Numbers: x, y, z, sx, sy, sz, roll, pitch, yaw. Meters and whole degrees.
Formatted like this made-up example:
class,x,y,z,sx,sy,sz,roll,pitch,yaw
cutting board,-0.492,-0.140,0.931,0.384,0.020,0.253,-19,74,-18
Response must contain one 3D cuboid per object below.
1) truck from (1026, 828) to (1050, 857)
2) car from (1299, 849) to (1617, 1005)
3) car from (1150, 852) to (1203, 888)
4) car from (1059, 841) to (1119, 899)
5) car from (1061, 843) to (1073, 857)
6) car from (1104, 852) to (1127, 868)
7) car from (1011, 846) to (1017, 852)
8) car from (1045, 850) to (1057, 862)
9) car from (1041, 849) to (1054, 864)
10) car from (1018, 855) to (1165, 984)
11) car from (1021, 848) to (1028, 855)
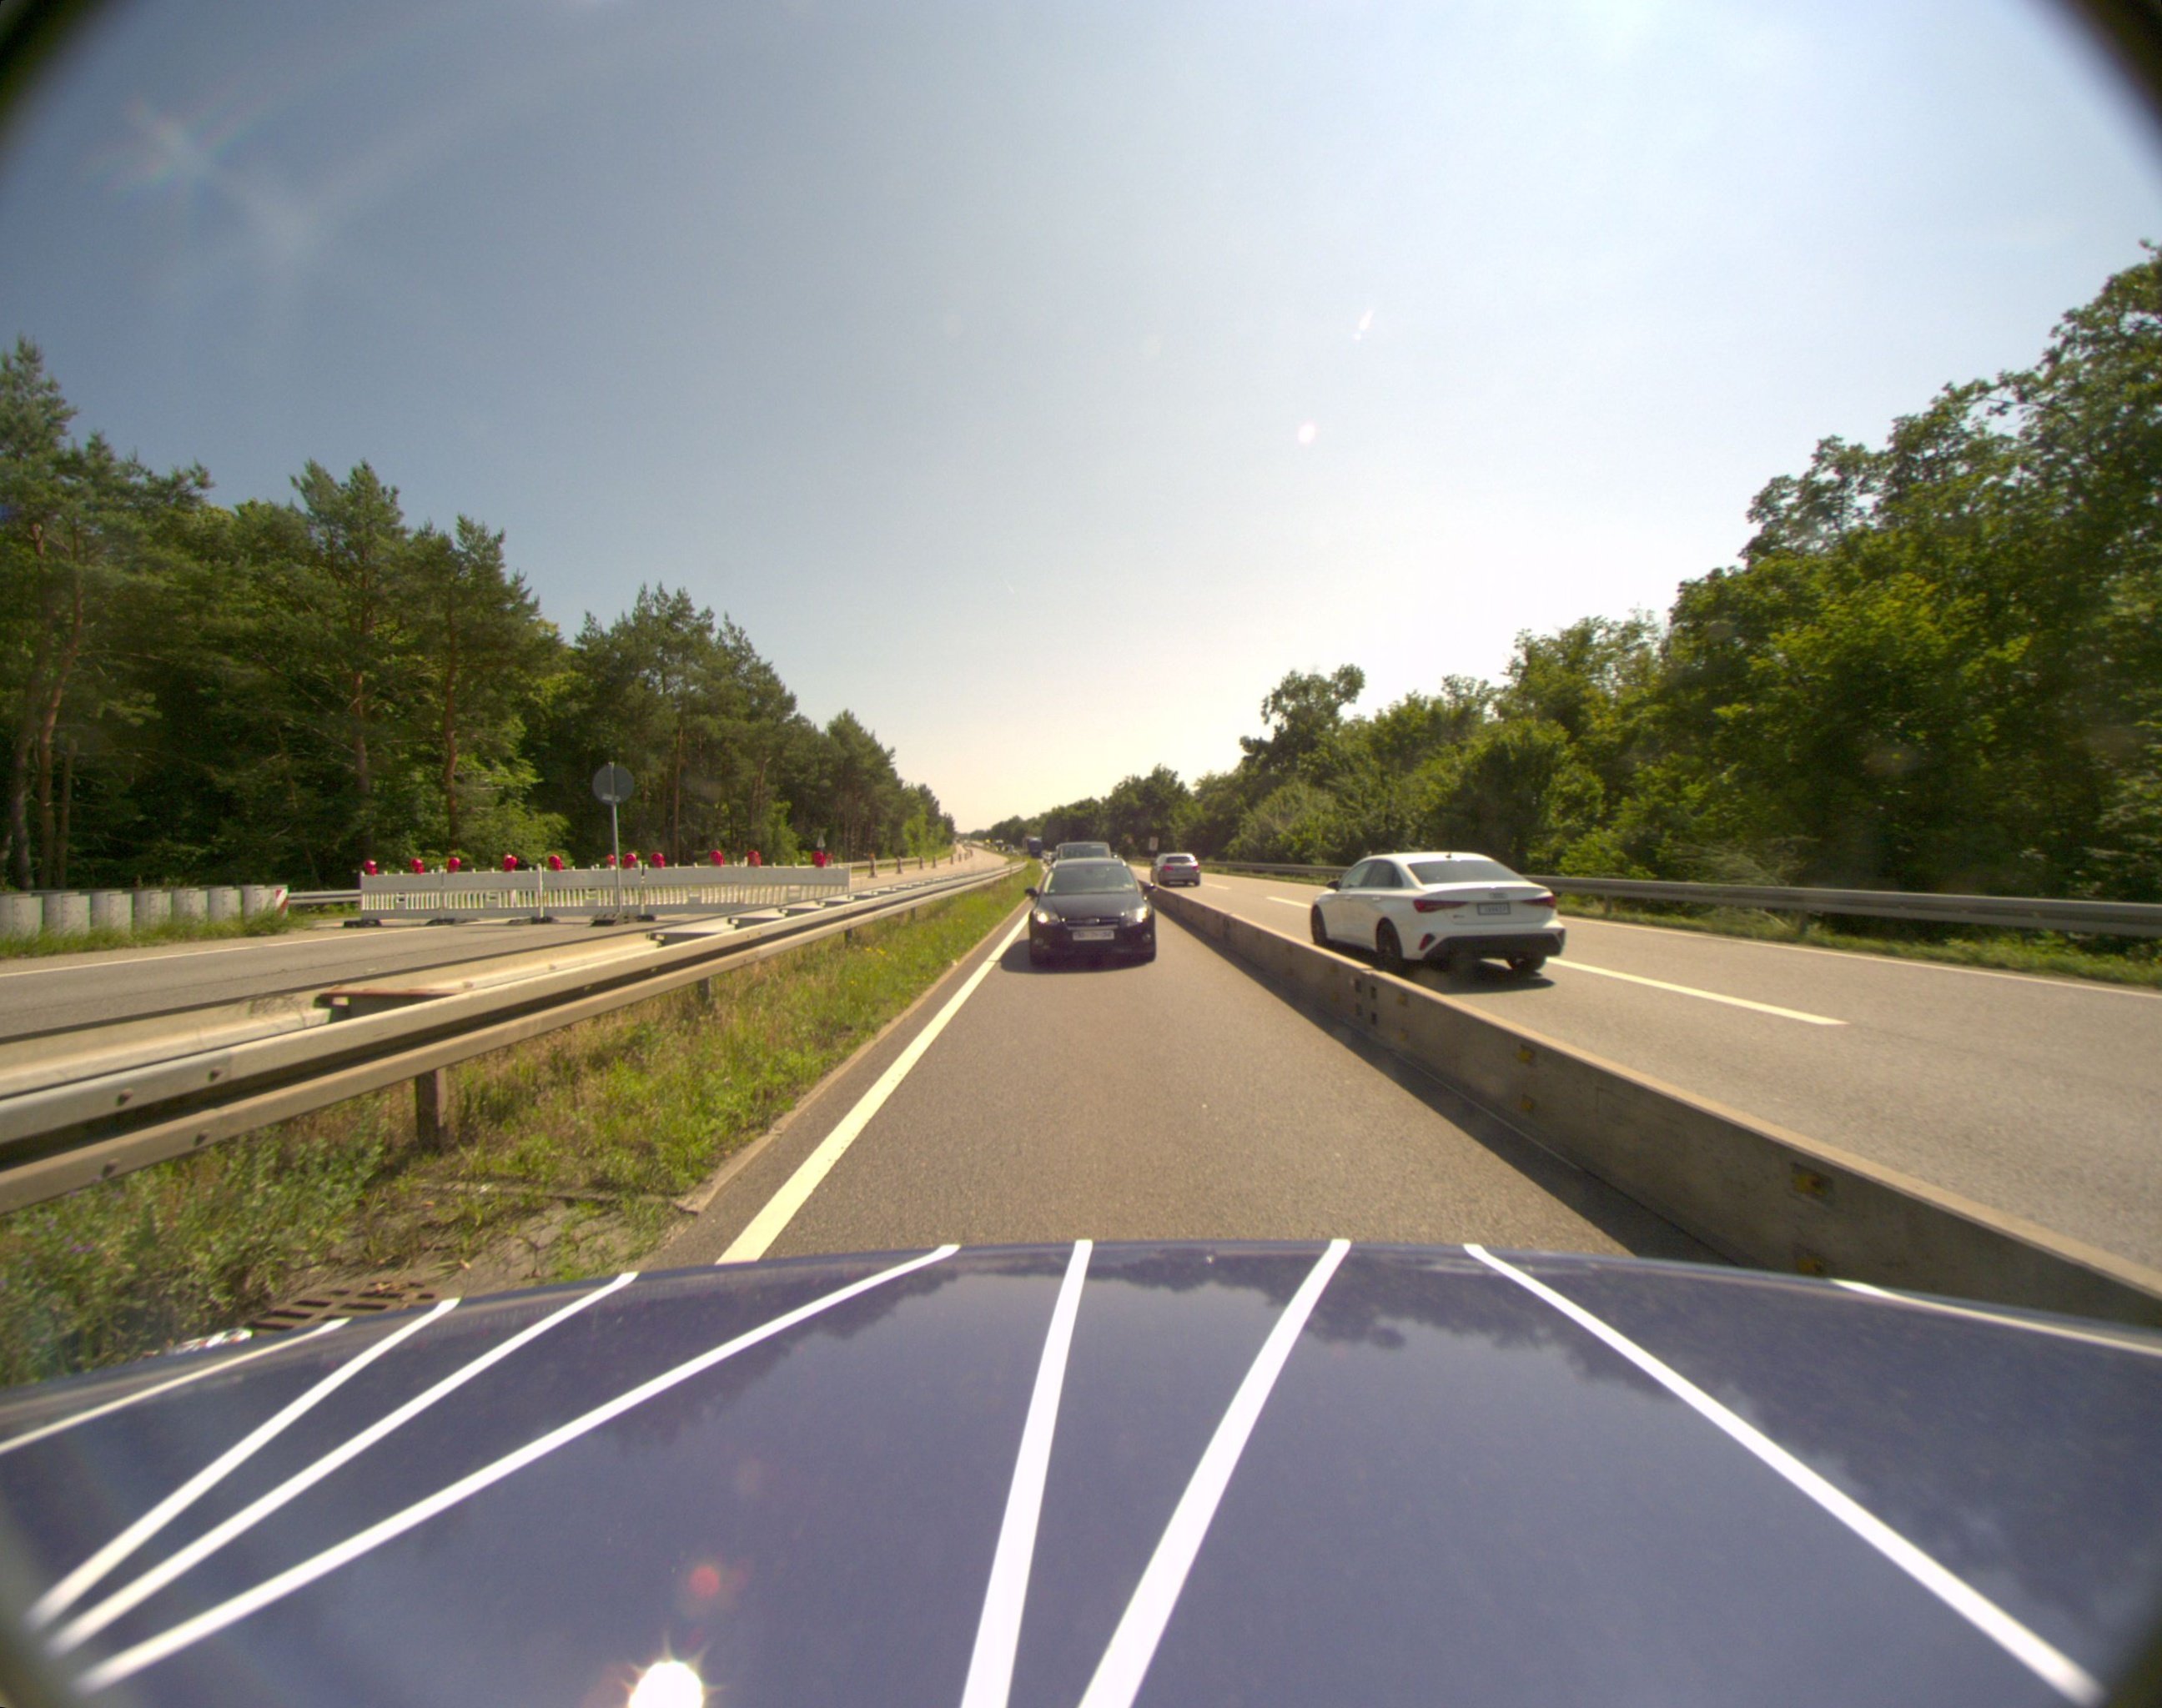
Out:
class,x,y,z,sx,sy,sz,roll,pitch,yaw
truck,-8.243,-2.108,144.771,3.831,5.267,11.239,-1,1,-6
car,4.477,0.727,9.962,1.954,1.530,4.435,-2,0,0
car,4.215,0.679,34.186,1.729,1.487,4.388,-1,0,-1
car,0.219,0.522,27.699,1.960,1.901,4.934,-1,0,-1
car,-2.517,-0.706,137.026,2.067,2.471,5.558,-2,1,-2
car,3.053,0.513,68.195,1.820,1.416,4.108,-1,0,-1
car,-19.038,-1.475,217.232,1.528,1.647,3.978,-1,0,-7
car,-4.144,0.227,104.604,1.527,1.647,3.753,0,0,-4
car,-3.976,0.258,89.429,1.527,1.647,3.979,-1,0,-3
car,0.118,0.857,12.296,1.847,1.537,4.934,-2,1,0
car,-13.152,-0.616,176.024,1.527,1.647,3.978,-2,1,-3
